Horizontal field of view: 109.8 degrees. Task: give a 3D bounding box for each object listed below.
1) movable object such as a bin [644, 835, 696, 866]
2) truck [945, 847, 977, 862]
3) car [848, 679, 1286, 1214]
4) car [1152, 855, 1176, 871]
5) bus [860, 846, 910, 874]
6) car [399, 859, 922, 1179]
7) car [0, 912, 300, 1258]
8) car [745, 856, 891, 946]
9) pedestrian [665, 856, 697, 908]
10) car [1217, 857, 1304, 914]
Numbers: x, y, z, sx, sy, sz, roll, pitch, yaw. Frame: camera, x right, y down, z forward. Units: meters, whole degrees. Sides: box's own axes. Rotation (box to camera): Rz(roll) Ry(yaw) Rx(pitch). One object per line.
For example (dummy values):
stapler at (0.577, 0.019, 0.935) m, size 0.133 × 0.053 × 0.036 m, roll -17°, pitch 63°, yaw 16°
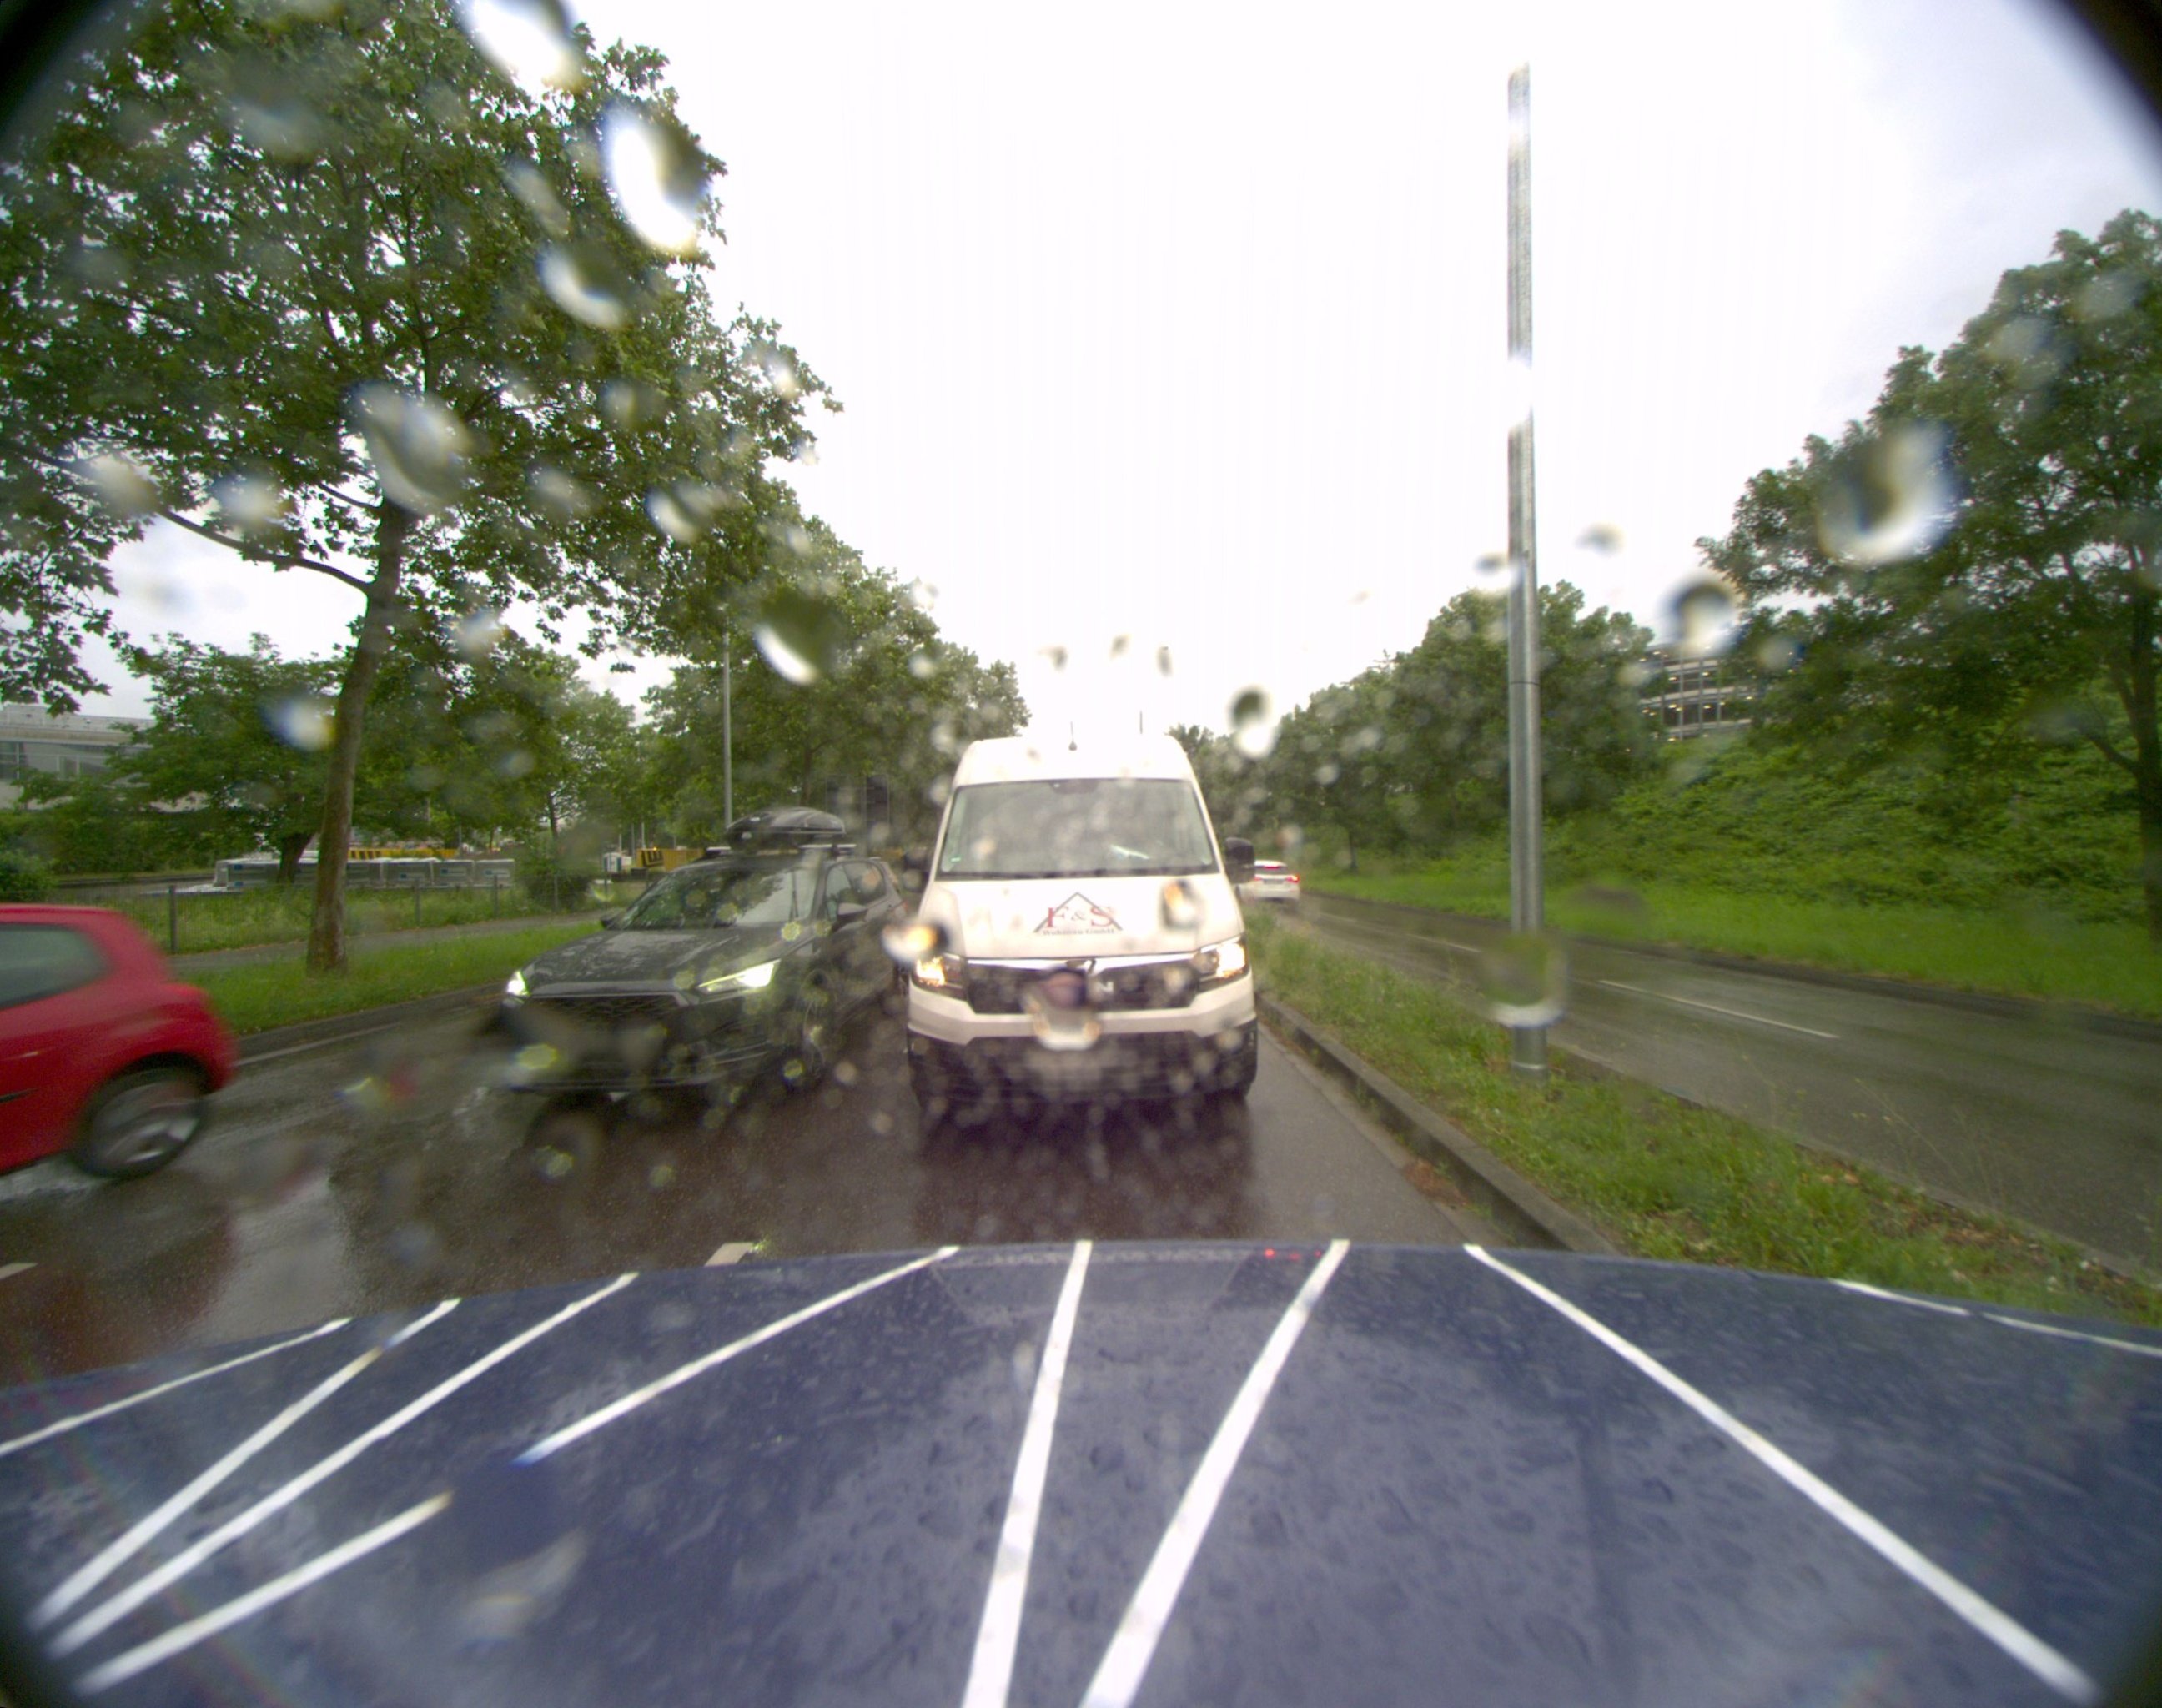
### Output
movable object such as a bin at (-48.446, -0.407, 89.545) m, size 4.947 × 3.415 × 1.913 m, roll -3°, pitch 1°, yaw -43°
truck at (-20.980, 0.086, 132.611) m, size 5.061 × 2.363 × 1.792 m, roll -3°, pitch 1°, yaw -30°
car at (-0.109, 0.428, 6.449) m, size 2.027 × 2.498 × 5.695 m, roll -1°, pitch 0°, yaw -1°
car at (8.258, 0.840, 75.611) m, size 1.891 × 1.510 × 4.301 m, roll 1°, pitch 0°, yaw 0°
bus at (-19.136, 0.566, 74.383) m, size 4.370 × 2.553 × 1.711 m, roll -2°, pitch 1°, yaw 0°
car at (-2.767, 0.918, 6.381) m, size 1.894 × 1.688 × 4.423 m, roll -1°, pitch 0°, yaw 0°
car at (-5.655, 1.111, 3.011) m, size 1.573 × 1.454 × 3.389 m, roll -2°, pitch 0°, yaw 0°
car at (-5.645, 0.930, 16.908) m, size 1.679 × 1.675 × 4.148 m, roll -3°, pitch 0°, yaw 1°
pedestrian at (-13.558, 0.948, 25.766) m, size 0.646 × 1.707 × 0.656 m, roll -2°, pitch 1°, yaw 1°
car at (5.507, 0.909, 23.747) m, size 1.739 × 1.511 × 4.047 m, roll 2°, pitch 1°, yaw 0°
